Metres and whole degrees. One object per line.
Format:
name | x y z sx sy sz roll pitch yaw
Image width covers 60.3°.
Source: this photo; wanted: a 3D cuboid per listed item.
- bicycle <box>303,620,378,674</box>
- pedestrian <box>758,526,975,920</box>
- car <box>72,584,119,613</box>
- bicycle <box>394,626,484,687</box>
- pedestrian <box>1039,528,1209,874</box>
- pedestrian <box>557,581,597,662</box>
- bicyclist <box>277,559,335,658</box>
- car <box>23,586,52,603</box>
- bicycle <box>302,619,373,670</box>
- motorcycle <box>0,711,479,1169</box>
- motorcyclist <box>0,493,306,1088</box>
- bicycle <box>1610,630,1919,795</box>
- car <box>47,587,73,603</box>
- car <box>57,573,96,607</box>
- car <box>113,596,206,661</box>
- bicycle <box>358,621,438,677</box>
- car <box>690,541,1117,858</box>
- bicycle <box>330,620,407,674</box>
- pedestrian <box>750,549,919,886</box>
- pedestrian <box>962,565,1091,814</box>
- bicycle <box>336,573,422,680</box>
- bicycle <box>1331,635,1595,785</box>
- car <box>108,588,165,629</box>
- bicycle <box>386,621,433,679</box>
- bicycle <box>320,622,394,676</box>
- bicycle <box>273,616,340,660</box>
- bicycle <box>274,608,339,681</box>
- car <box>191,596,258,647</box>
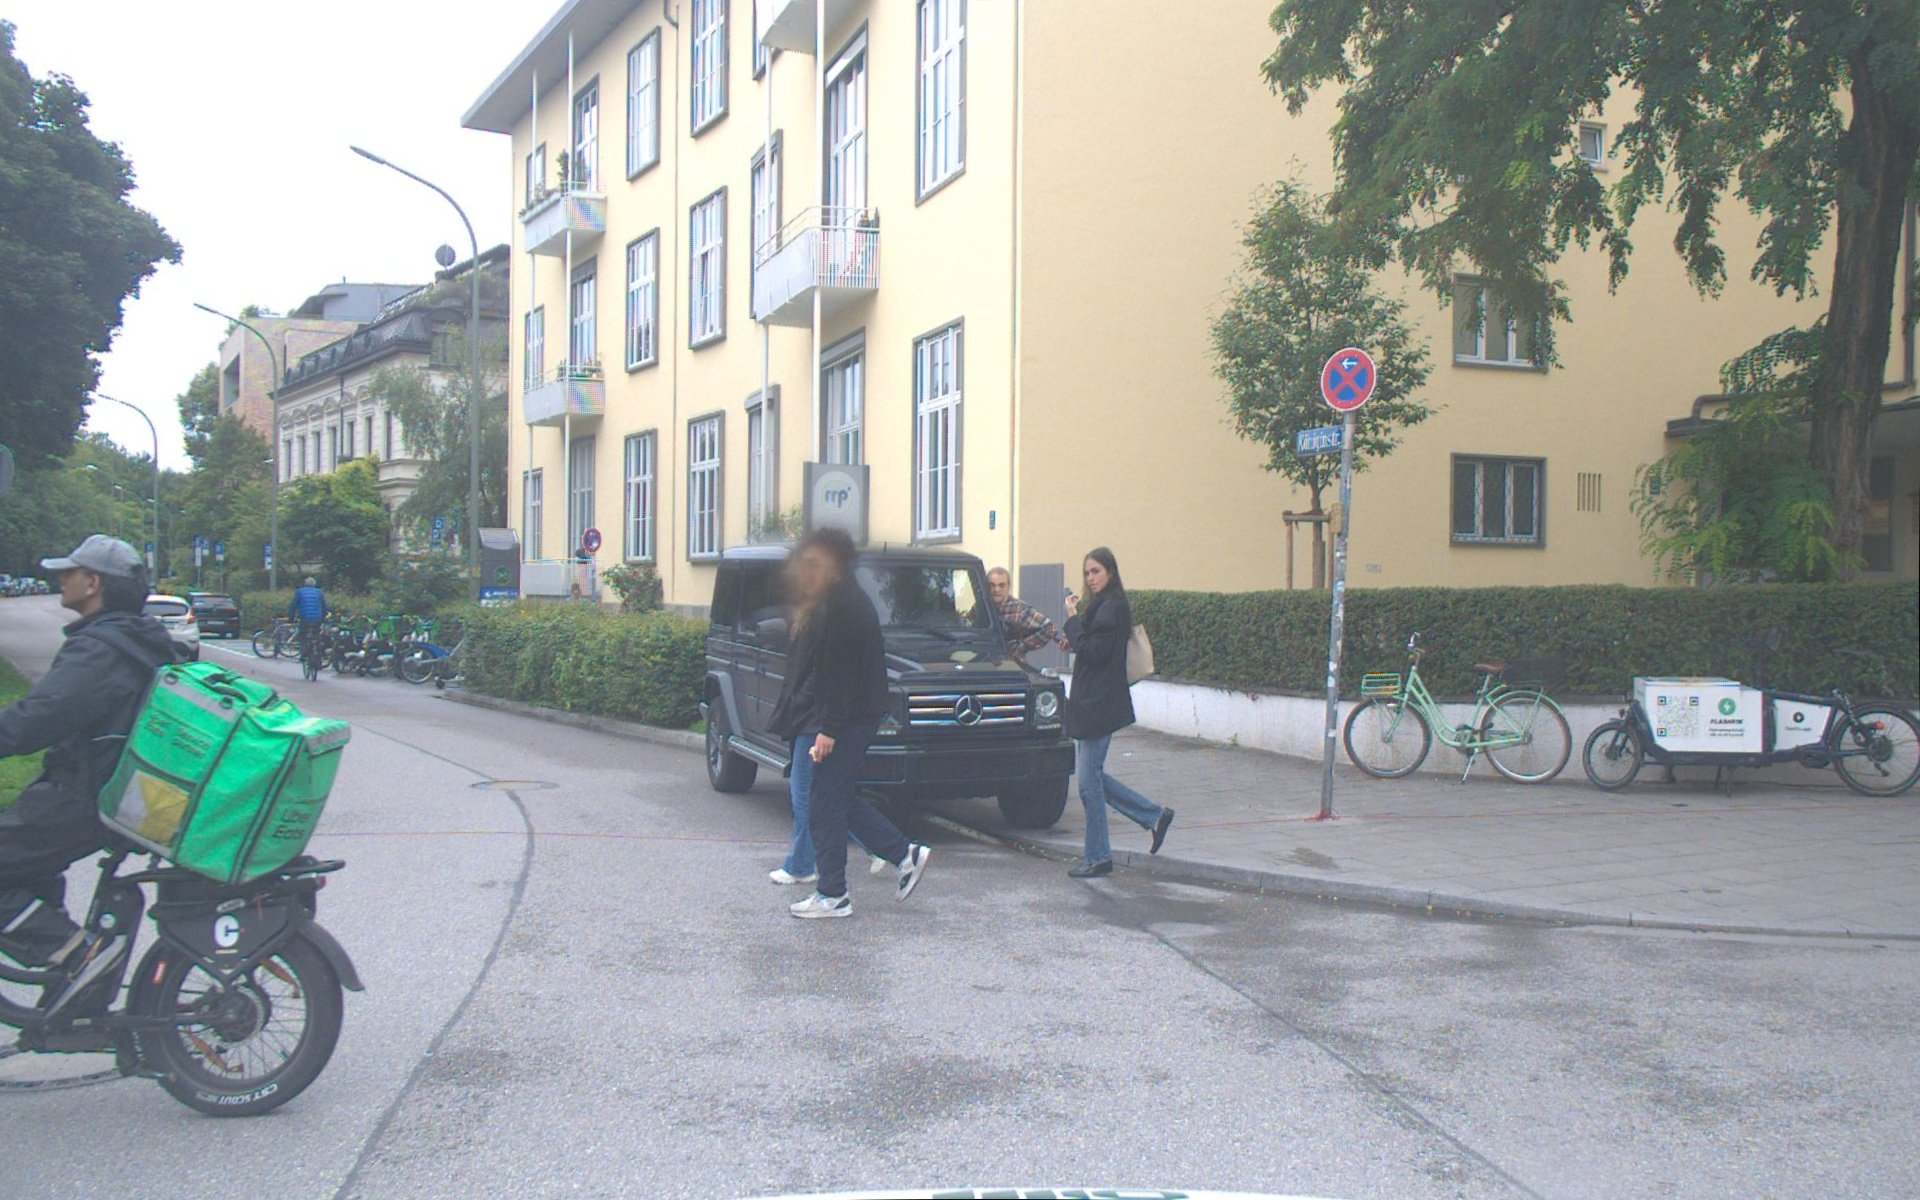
bicycle | -12.712 0.958 33.975 0.400 1.032 1.535 -1 1 28
pedestrian | -0.438 0.575 8.094 0.969 1.841 0.660 0 0 5
car | -48.506 -0.093 92.765 1.975 1.628 4.206 0 0 -33
bicycle | -9.444 1.011 30.010 1.519 1.032 0.363 -1 1 -34
pedestrian | 0.922 0.554 9.492 0.833 1.890 0.766 -1 0 -3
pedestrian | -8.327 0.460 35.930 0.625 1.713 0.690 -1 0 -33
bicyclist | -12.099 0.149 30.575 0.903 1.795 1.205 0 0 -26
car | -87.155 -0.498 156.292 1.967 1.628 4.435 0 0 -23
bicycle | -13.419 0.952 35.661 0.400 1.032 1.535 -1 1 28
motorcycle | -2.404 0.901 4.617 1.933 1.117 0.717 0 0 -6
motorcyclist | -2.388 0.487 4.612 0.878 1.527 0.713 0 0 -5
bicycle | 5.945 0.802 12.105 2.121 1.135 0.641 0 0 8
car | -92.657 -0.476 170.276 1.967 1.628 4.435 0 0 -23
car | -53.674 -0.579 100.467 2.043 2.000 4.929 0 0 -29
car | -18.722 0.629 38.618 1.729 1.431 3.690 0 0 -30
bicycle | -11.068 0.958 32.611 0.360 1.032 1.531 -1 1 37
car | -0.661 0.589 12.517 1.847 1.920 4.589 0 0 -21
bicycle | -11.909 0.935 33.345 0.401 1.032 1.534 -1 1 32
pedestrian | -0.676 0.616 9.107 0.809 1.776 0.741 0 0 6
pedestrian | 0.485 0.637 12.430 0.832 1.788 0.952 -1 0 -6
bicycle | -11.509 0.505 32.827 0.447 2.049 1.673 -1 1 32
bicycle | 3.949 0.851 13.079 1.910 1.104 0.527 -2 -2 35
car | -34.894 0.328 70.053 1.776 1.709 3.954 0 0 -33
bicycle | -10.504 0.940 31.613 0.358 1.032 1.538 -1 1 0
bicycle | -12.286 0.982 33.727 0.400 1.032 1.535 -1 1 28
bicycle | -16.266 0.938 41.188 0.402 1.032 1.529 0 1 41
bicycle | -12.074 0.791 30.524 0.910 1.274 2.301 0 0 -27
car | -23.924 0.669 53.759 1.629 1.585 3.523 0 0 -30
